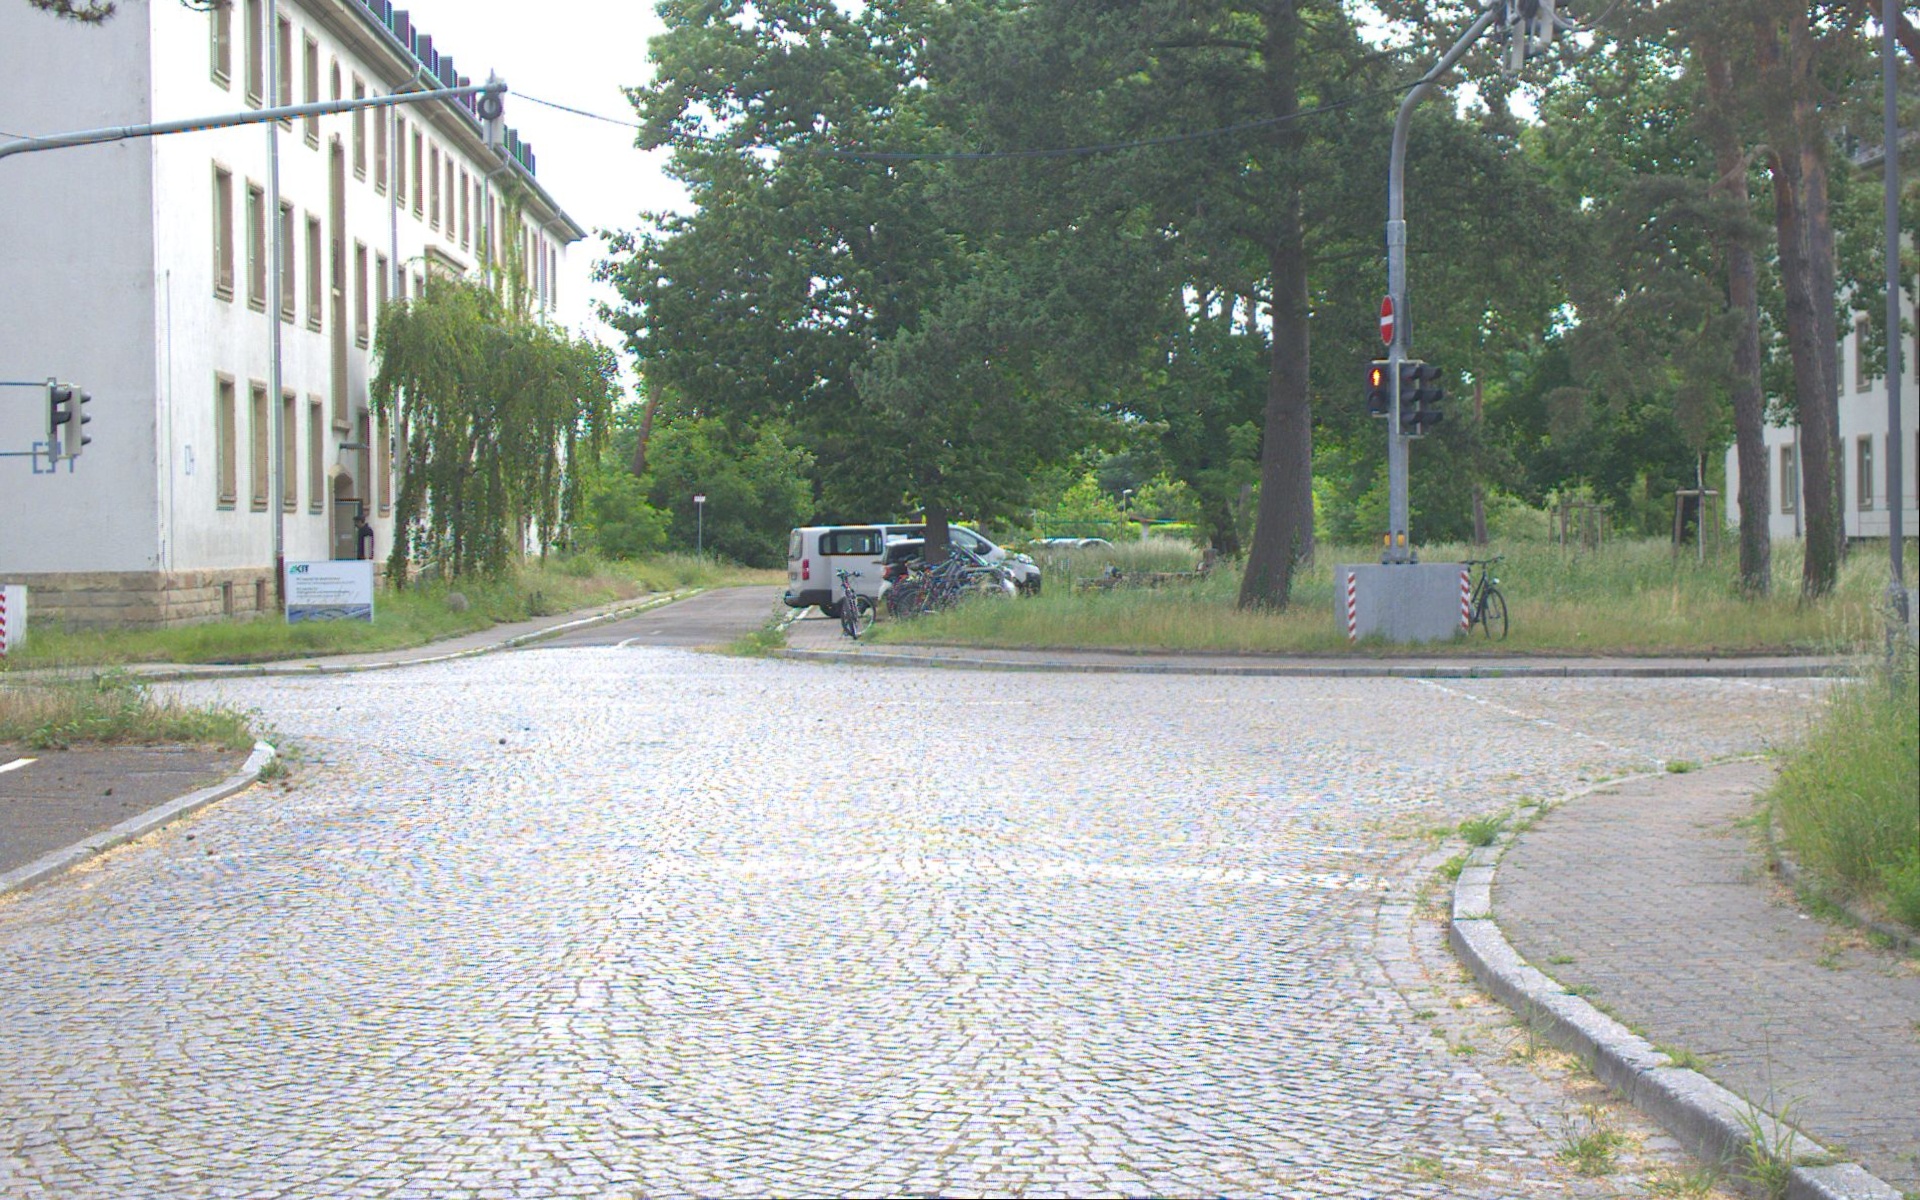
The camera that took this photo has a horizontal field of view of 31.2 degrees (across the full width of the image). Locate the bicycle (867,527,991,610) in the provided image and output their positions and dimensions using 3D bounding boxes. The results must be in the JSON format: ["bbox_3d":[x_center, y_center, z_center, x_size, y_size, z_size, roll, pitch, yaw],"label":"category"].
[{"bbox_3d":[-0.523,-0.542,57.940,2.070,1.373,0.620,-1,1,0],"label":"bicycle"}]

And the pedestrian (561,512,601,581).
[{"bbox_3d":[-11.092,-1.559,100.648,0.959,2.007,0.795,0,1,9],"label":"pedestrian"}]

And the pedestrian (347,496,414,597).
[{"bbox_3d":[-11.634,-1.083,68.998,1.087,2.007,1.021,0,1,5],"label":"pedestrian"}]

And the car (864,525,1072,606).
[{"bbox_3d":[0.138,-0.701,68.088,3.932,1.539,2.000,-1,1,-5],"label":"car"}]

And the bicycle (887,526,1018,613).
[{"bbox_3d":[-0.114,-0.491,54.862,2.070,1.373,0.620,-1,1,0],"label":"bicycle"}]

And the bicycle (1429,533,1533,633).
[{"bbox_3d":[6.251,-0.217,41.331,0.908,1.173,1.874,-1,1,-2],"label":"bicycle"}]

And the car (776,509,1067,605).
[{"bbox_3d":[-0.815,-0.908,71.450,5.690,1.904,2.231,-1,1,-13],"label":"car"}]

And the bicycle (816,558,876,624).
[{"bbox_3d":[-1.708,-0.147,51.767,0.618,0.960,2.076,0,1,6],"label":"bicycle"}]

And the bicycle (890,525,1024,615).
[{"bbox_3d":[-0.045,-0.472,53.567,2.070,1.373,0.620,-1,1,0],"label":"bicycle"}]

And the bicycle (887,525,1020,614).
[{"bbox_3d":[-0.100,-0.483,54.237,2.070,1.373,0.620,-1,1,0],"label":"bicycle"}]

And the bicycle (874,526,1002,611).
[{"bbox_3d":[-0.360,-0.520,56.456,2.070,1.373,0.620,-1,1,0],"label":"bicycle"}]
